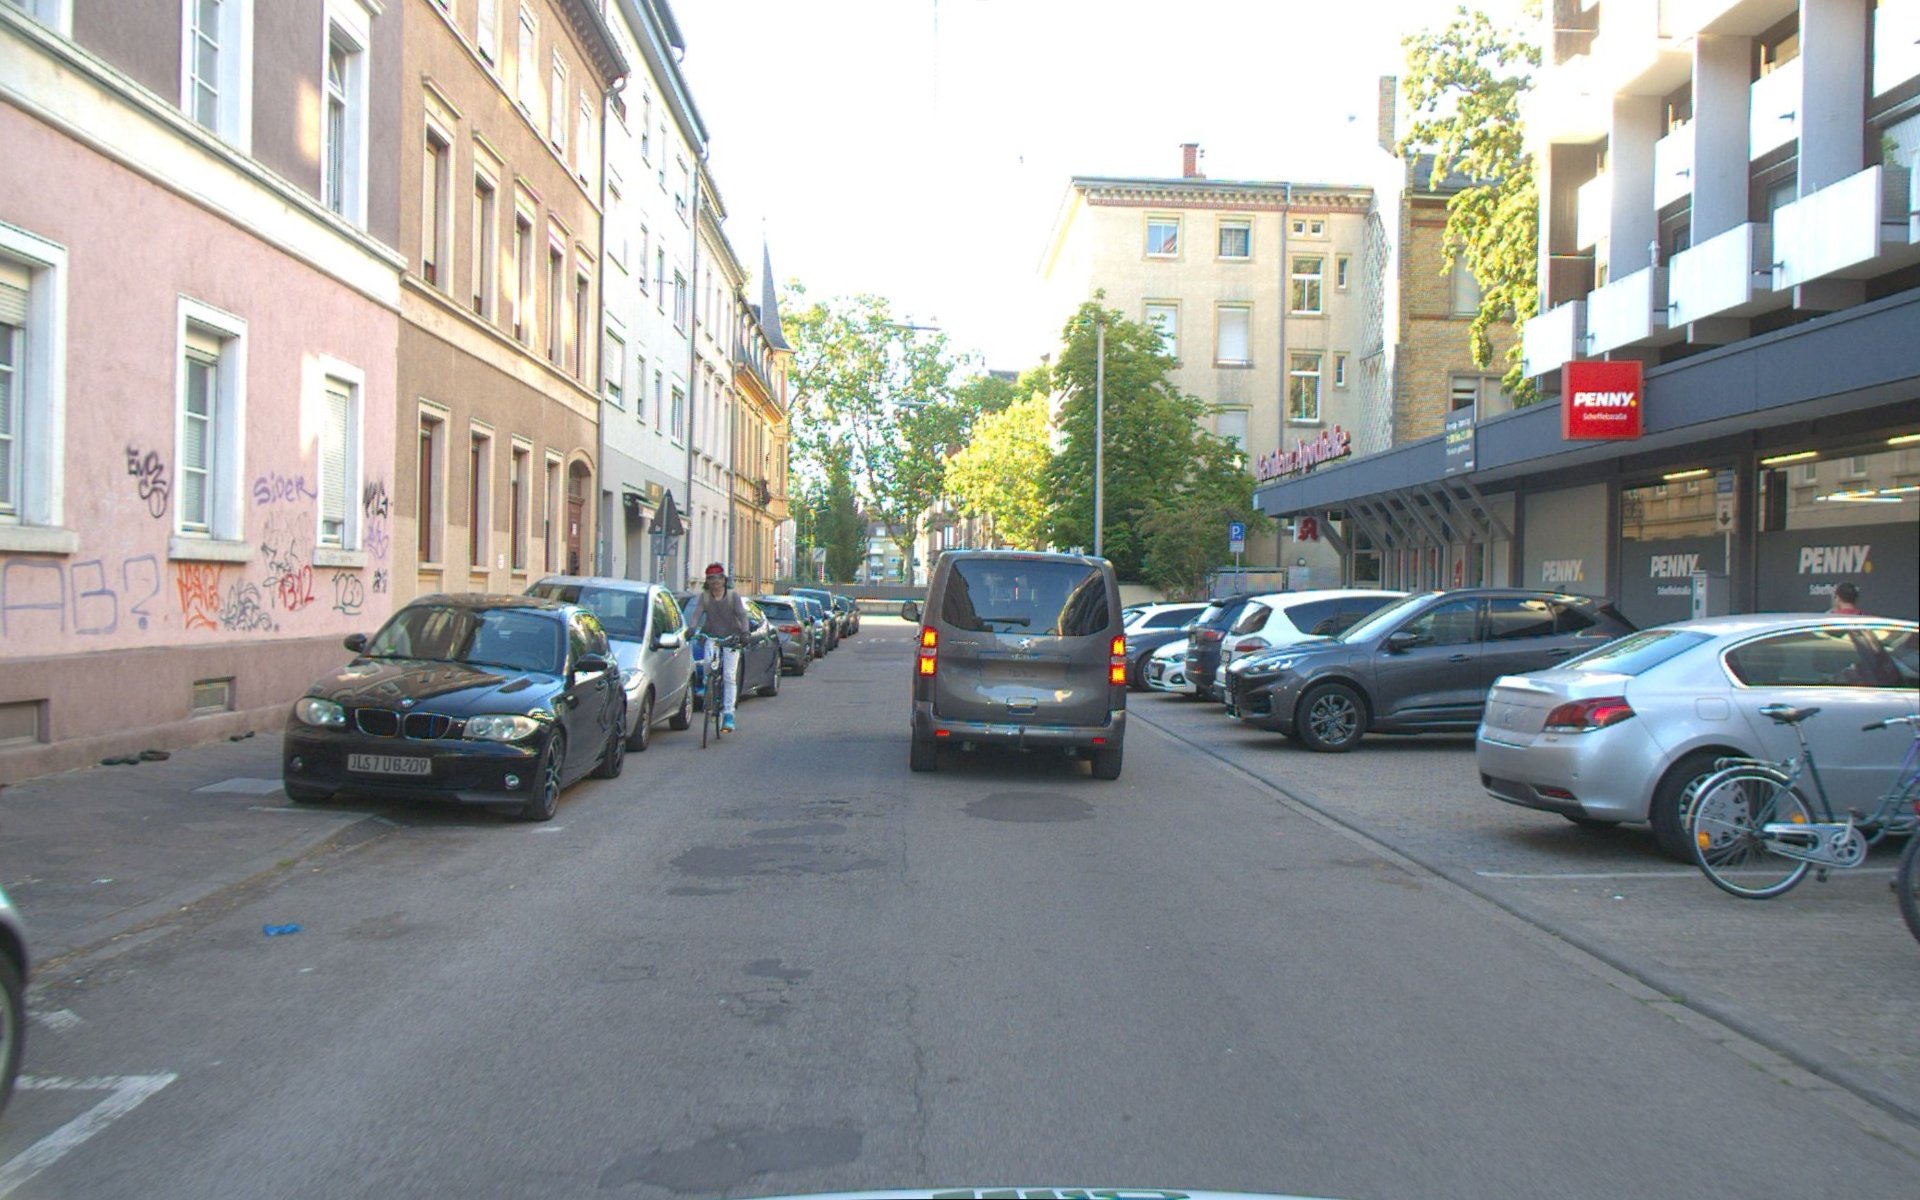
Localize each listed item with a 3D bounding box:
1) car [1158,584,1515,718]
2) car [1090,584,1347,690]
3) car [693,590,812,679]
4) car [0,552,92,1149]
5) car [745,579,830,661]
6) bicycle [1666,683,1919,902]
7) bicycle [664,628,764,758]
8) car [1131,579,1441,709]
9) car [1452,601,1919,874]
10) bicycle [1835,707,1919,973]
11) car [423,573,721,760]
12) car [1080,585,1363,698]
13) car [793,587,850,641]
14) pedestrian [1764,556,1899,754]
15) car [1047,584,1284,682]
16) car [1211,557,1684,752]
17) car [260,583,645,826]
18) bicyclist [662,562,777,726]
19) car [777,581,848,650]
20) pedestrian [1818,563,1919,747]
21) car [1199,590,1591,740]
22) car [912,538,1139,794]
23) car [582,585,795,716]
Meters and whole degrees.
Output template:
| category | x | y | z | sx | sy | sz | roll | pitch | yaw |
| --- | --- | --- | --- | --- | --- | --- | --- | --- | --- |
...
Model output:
| category | x | y | z | sx | sy | sz | roll | pitch | yaw |
| --- | --- | --- | --- | --- | --- | --- | --- | --- | --- |
| car | 5.236 | 0.694 | 23.312 | 4.485 | 1.735 | 1.996 | 1 | 0 | -9 |
| car | 4.937 | 0.694 | 31.858 | 4.485 | 1.891 | 1.996 | 1 | 0 | -9 |
| car | -4.040 | 0.622 | 32.828 | 2.102 | 1.588 | 4.580 | 1 | 0 | -5 |
| car | -3.188 | 0.643 | 3.327 | 1.357 | 1.558 | 2.749 | 1 | 0 | 1 |
| car | -4.242 | 0.451 | 41.256 | 1.954 | 1.891 | 4.580 | 1 | 0 | -5 |
| bicycle | 4.844 | 1.005 | 8.834 | 1.859 | 1.085 | 0.679 | 0 | 0 | 1 |
| bicycle | -2.426 | 0.886 | 16.517 | 0.608 | 1.158 | 2.258 | 0 | 0 | 1 |
| car | 5.073 | 0.674 | 26.009 | 4.390 | 1.891 | 1.881 | 1 | 0 | -9 |
| car | 5.756 | 0.792 | 10.764 | 4.532 | 1.491 | 1.840 | -2 | 0 | -2 |
| bicycle | 4.987 | 1.024 | 7.245 | 2.002 | 1.067 | 0.723 | 0 | 0 | -8 |
| car | -3.819 | 0.582 | 17.159 | 1.953 | 1.633 | 4.585 | 1 | 0 | 0 |
| car | 4.514 | 0.708 | 28.899 | 4.485 | 1.823 | 1.996 | 1 | 0 | -9 |
| car | -5.118 | 0.477 | 61.173 | 1.954 | 1.891 | 4.580 | 1 | 0 | -5 |
| pedestrian | 9.001 | 0.543 | 17.130 | 1.063 | 1.979 | 0.872 | 0 | 0 | 16 |
| car | 4.204 | 0.665 | 34.260 | 4.485 | 1.891 | 1.996 | 1 | 0 | -9 |
| car | 5.145 | 0.555 | 17.878 | 4.478 | 1.891 | 1.999 | 1 | 0 | -3 |
| car | -3.493 | 0.621 | 12.257 | 1.753 | 1.422 | 4.463 | 2 | 0 | -5 |
| bicyclist | -2.411 | 0.429 | 16.686 | 1.013 | 1.605 | 0.833 | 0 | 0 | 2 |
| car | -4.297 | 0.413 | 48.430 | 1.954 | 1.891 | 4.580 | 1 | 0 | -5 |
| pedestrian | 8.727 | 0.507 | 15.762 | 0.885 | 1.690 | 0.871 | 0 | 0 | 22 |
| car | 5.365 | 0.784 | 20.675 | 4.370 | 1.705 | 1.795 | 1 | 0 | -7 |
| car | 0.545 | 0.518 | 15.437 | 1.819 | 2.049 | 4.000 | -1 | 0 | 0 |
| car | -3.646 | 0.624 | 23.068 | 1.952 | 1.588 | 4.586 | 1 | 0 | 3 |
